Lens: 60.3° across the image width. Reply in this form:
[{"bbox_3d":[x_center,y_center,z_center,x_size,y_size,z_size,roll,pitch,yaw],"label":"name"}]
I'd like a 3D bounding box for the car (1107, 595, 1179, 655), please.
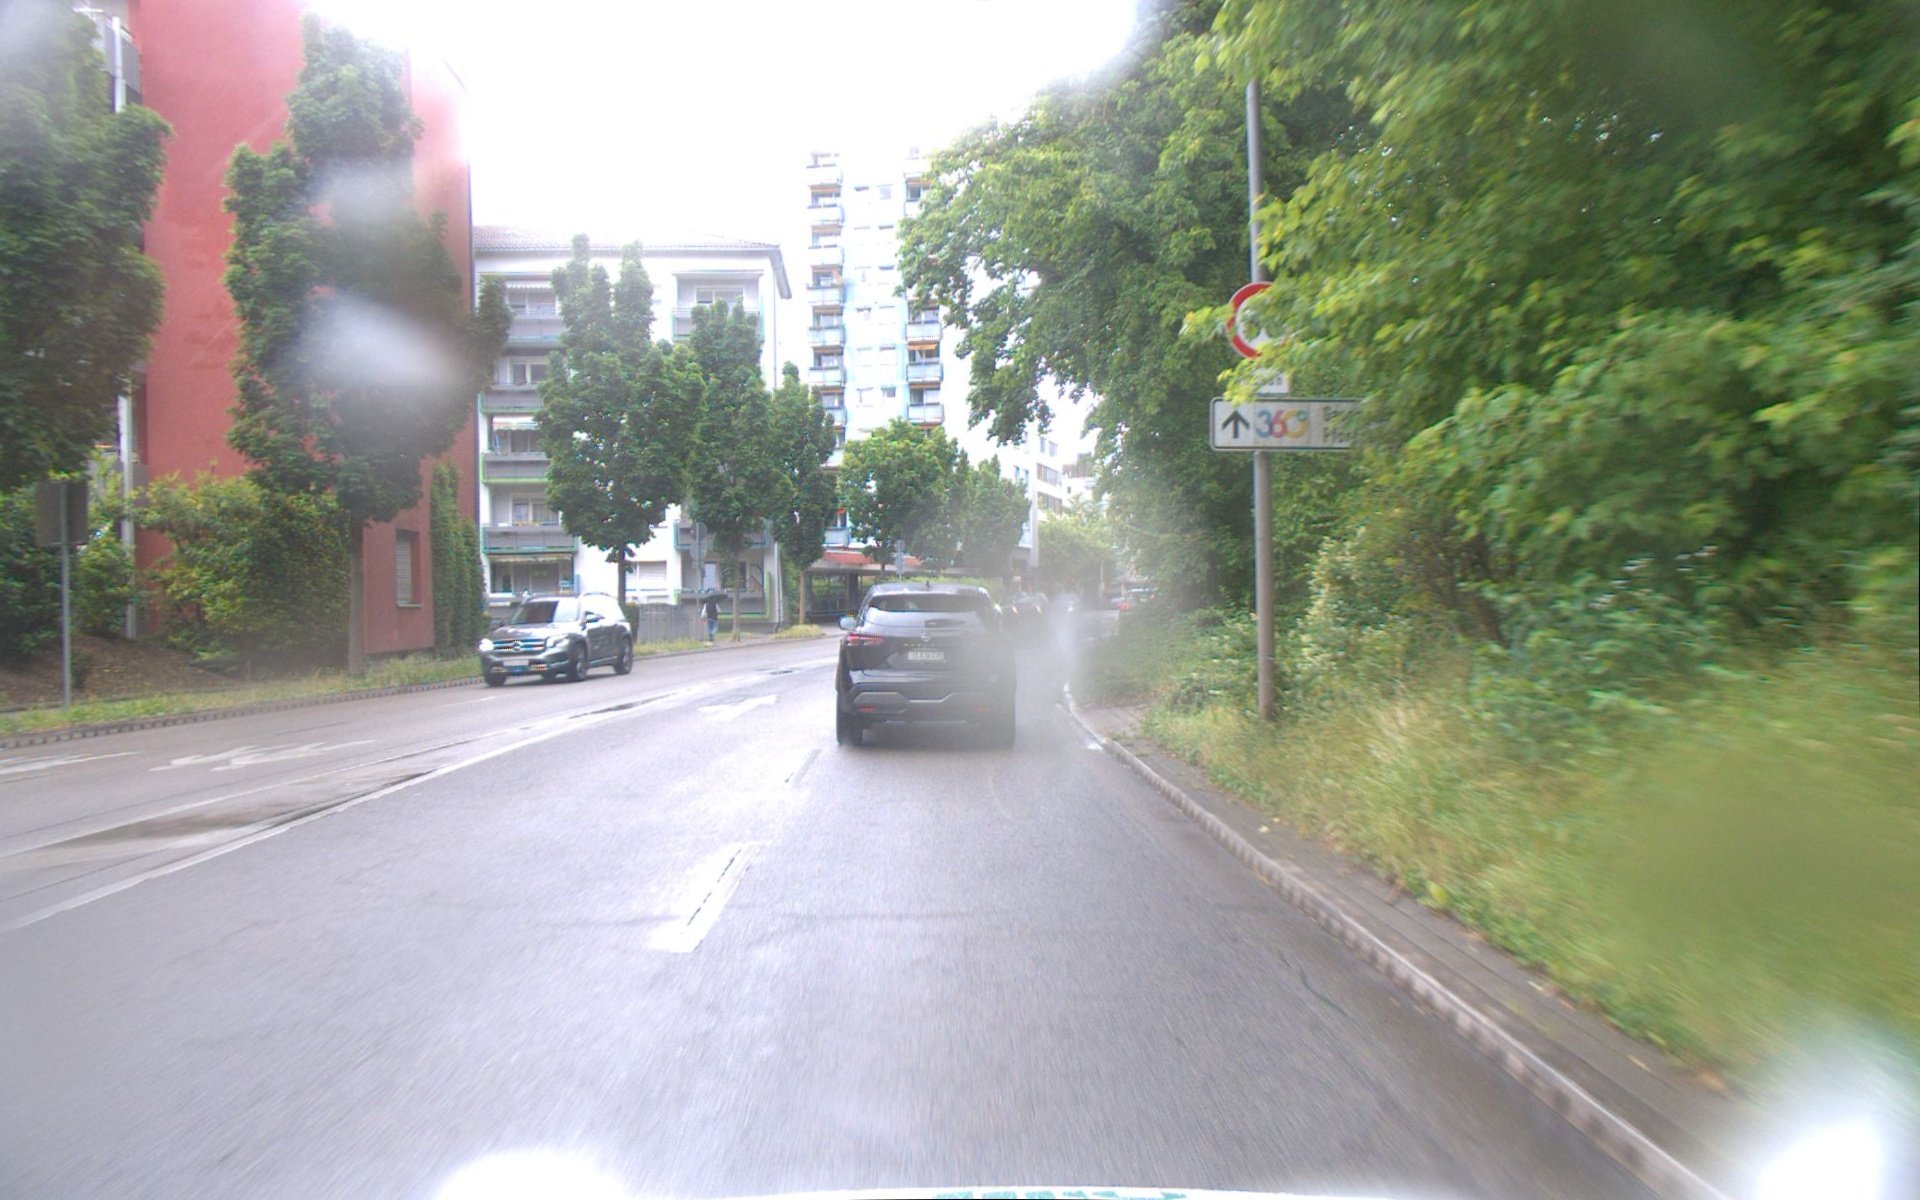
[{"bbox_3d":[6.738,0.898,60.511,1.951,2.049,4.003,-1,0,15],"label":"car"}]

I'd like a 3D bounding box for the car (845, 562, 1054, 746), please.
[{"bbox_3d":[-0.231,0.503,17.623,1.921,1.681,3.996,-2,0,-4],"label":"car"}]

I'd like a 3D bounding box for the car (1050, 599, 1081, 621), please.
[{"bbox_3d":[7.679,0.685,119.991,1.834,1.415,4.631,-3,0,8],"label":"car"}]

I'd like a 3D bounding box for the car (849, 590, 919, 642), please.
[{"bbox_3d":[-2.484,0.484,54.837,1.640,1.590,4.145,1,1,7],"label":"car"}]

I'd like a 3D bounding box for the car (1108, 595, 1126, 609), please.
[{"bbox_3d":[17.576,0.219,185.159,1.637,1.504,3.611,-3,0,10],"label":"car"}]

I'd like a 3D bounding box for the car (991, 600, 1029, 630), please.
[{"bbox_3d":[3.101,0.891,100.986,1.834,1.630,4.468,-3,0,7],"label":"car"}]

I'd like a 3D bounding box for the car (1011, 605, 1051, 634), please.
[{"bbox_3d":[3.851,1.030,88.753,1.802,1.409,4.363,-3,0,6],"label":"car"}]

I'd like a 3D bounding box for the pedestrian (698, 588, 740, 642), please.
[{"bbox_3d":[-8.424,0.515,57.863,1.110,1.835,1.264,-1,0,8],"label":"pedestrian"}]

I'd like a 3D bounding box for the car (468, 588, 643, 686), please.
[{"bbox_3d":[-7.717,0.649,32.046,1.882,1.659,4.504,-3,0,5],"label":"car"}]
